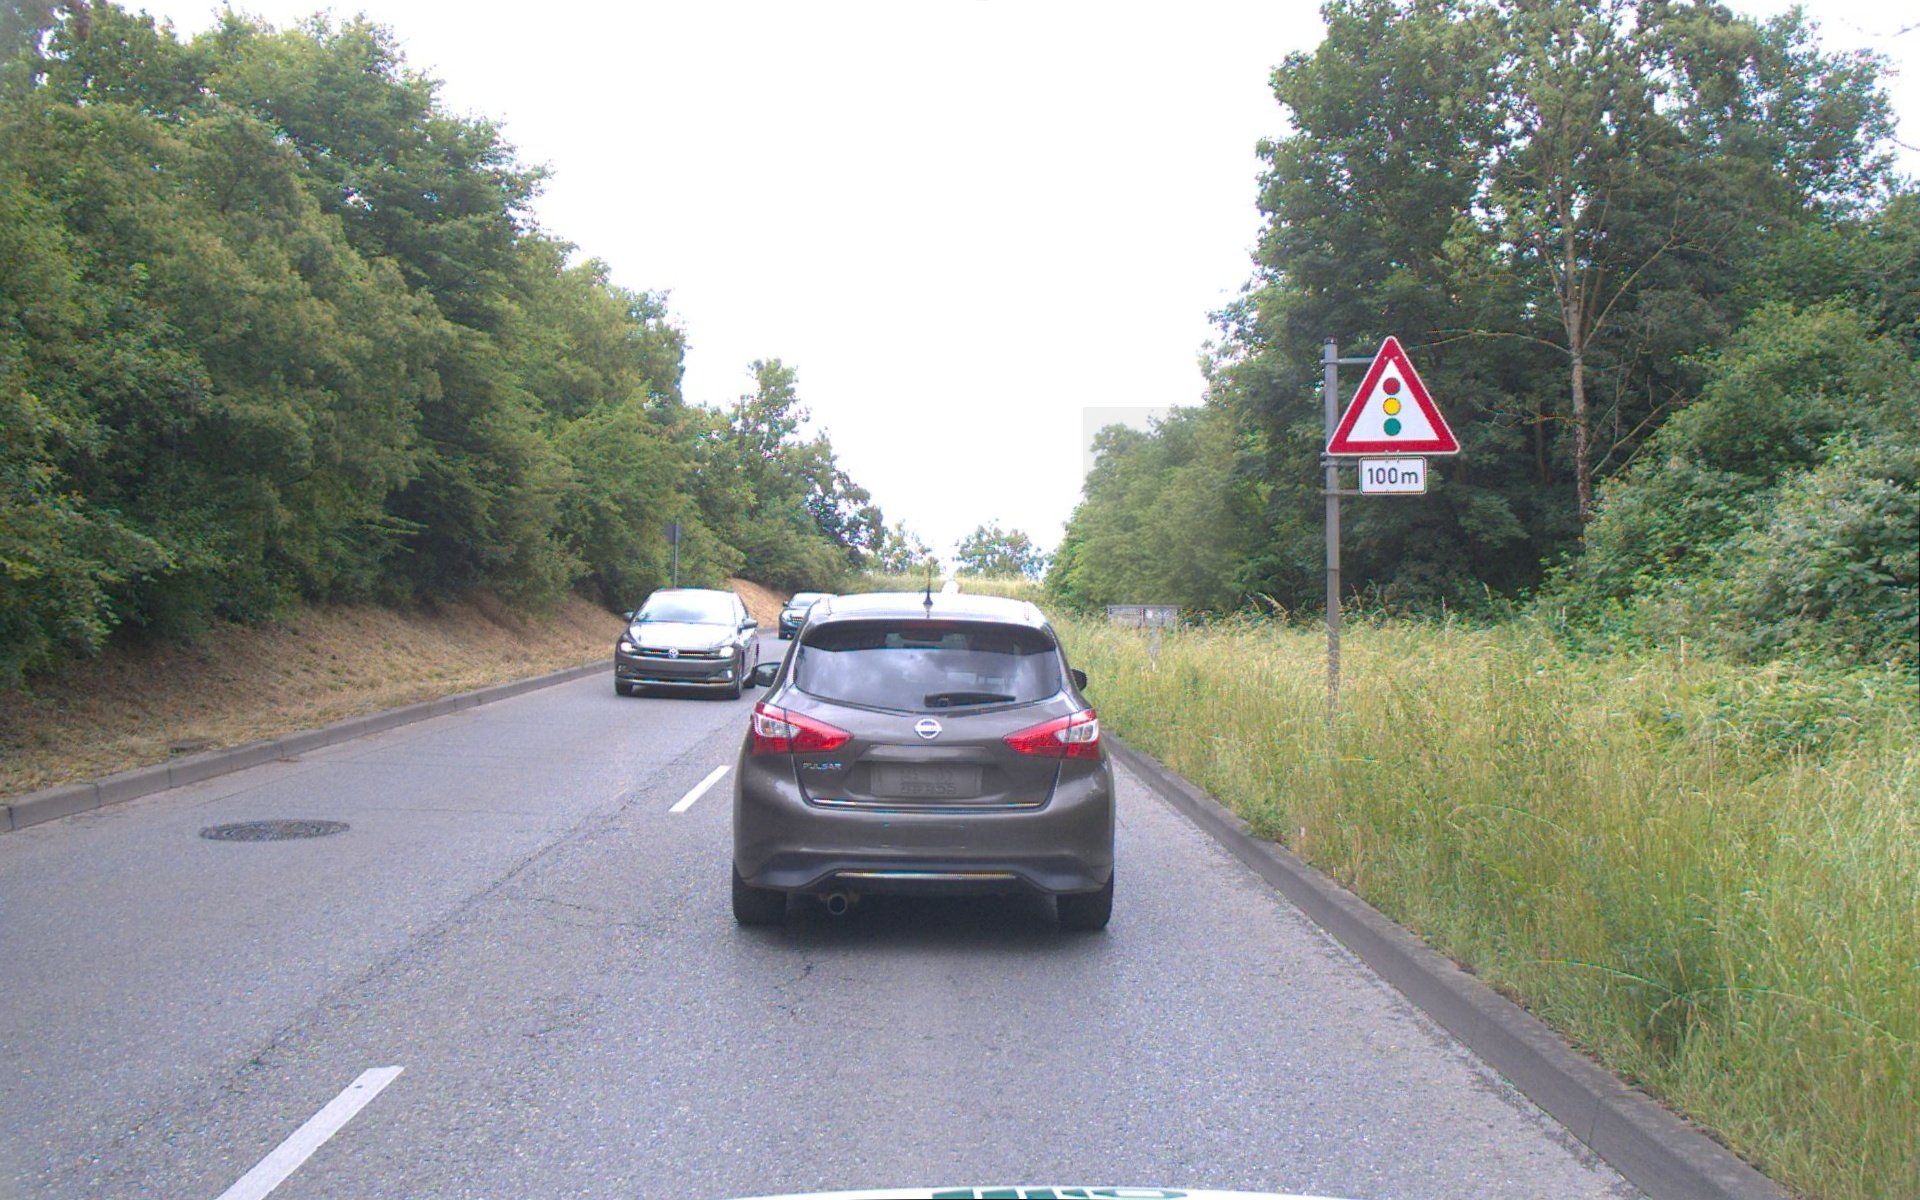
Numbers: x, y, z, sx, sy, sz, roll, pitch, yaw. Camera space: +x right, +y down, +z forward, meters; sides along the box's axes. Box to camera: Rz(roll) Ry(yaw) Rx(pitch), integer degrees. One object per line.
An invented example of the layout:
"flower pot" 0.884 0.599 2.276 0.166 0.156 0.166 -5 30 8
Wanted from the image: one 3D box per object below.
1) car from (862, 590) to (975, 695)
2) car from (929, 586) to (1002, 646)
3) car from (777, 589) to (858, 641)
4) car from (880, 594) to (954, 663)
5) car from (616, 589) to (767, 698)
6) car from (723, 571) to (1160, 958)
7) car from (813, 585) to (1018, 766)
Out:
"car" -0.644 0.641 26.785 1.700 1.583 3.543 0 0 -1
"car" 0.229 0.510 56.234 1.699 1.968 3.546 0 0 14
"car" -4.358 0.461 51.160 1.607 1.424 3.824 4 0 8
"car" -1.005 0.650 39.735 1.700 1.583 3.543 0 0 -1
"car" -3.754 0.564 23.655 1.609 1.425 3.820 1 0 -1
"car" -0.145 0.676 8.579 1.793 1.583 3.497 1 0 -3
"car" -0.405 0.651 16.279 1.793 1.583 3.624 0 0 -1
